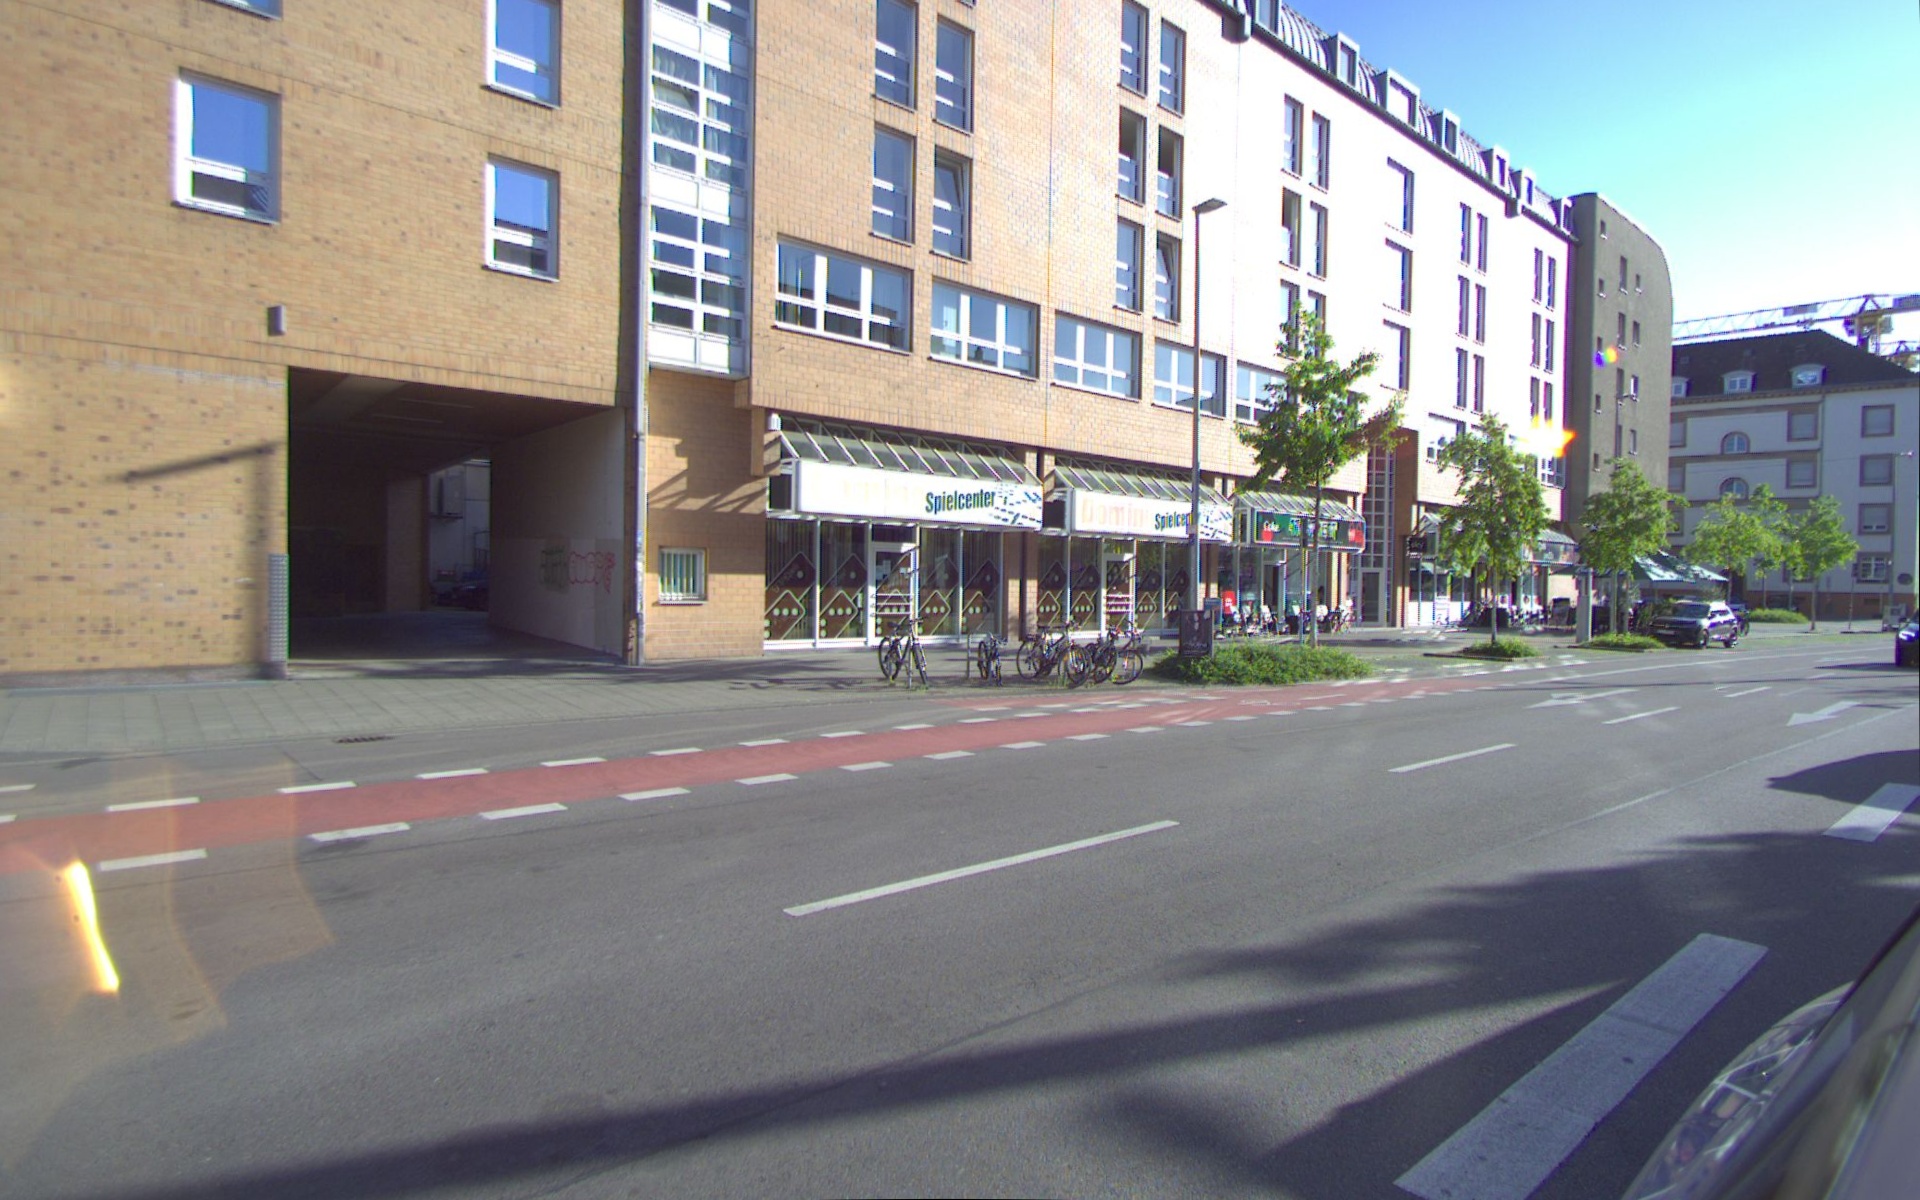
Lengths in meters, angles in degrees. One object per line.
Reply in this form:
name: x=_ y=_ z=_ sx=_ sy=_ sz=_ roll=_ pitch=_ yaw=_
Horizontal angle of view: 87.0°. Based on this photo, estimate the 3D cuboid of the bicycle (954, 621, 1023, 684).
bicycle: x=0.451 y=0.852 z=16.902 sx=0.359 sy=0.842 sz=1.779 roll=0 pitch=3 yaw=-26

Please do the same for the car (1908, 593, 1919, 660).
car: x=25.224 y=0.631 z=25.256 sx=4.375 sy=1.615 sz=1.806 roll=0 pitch=-1 yaw=-41

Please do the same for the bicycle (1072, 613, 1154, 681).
bicycle: x=2.644 y=0.795 z=17.685 sx=0.440 sy=0.997 sz=1.843 roll=0 pitch=3 yaw=-26

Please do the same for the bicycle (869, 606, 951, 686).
bicycle: x=-0.818 y=0.702 z=16.133 sx=0.423 sy=1.089 sz=1.776 roll=-1 pitch=4 yaw=-35

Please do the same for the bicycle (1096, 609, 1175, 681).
bicycle: x=3.069 y=0.766 z=17.898 sx=0.343 sy=1.069 sz=1.843 roll=0 pitch=3 yaw=-26

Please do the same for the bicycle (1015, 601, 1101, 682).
bicycle: x=1.636 y=0.671 z=17.183 sx=0.553 sy=1.177 sz=1.843 roll=0 pitch=3 yaw=-26

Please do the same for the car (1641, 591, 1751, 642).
car: x=25.758 y=0.544 z=35.403 sx=3.921 sy=1.660 sz=1.782 roll=0 pitch=1 yaw=-33
